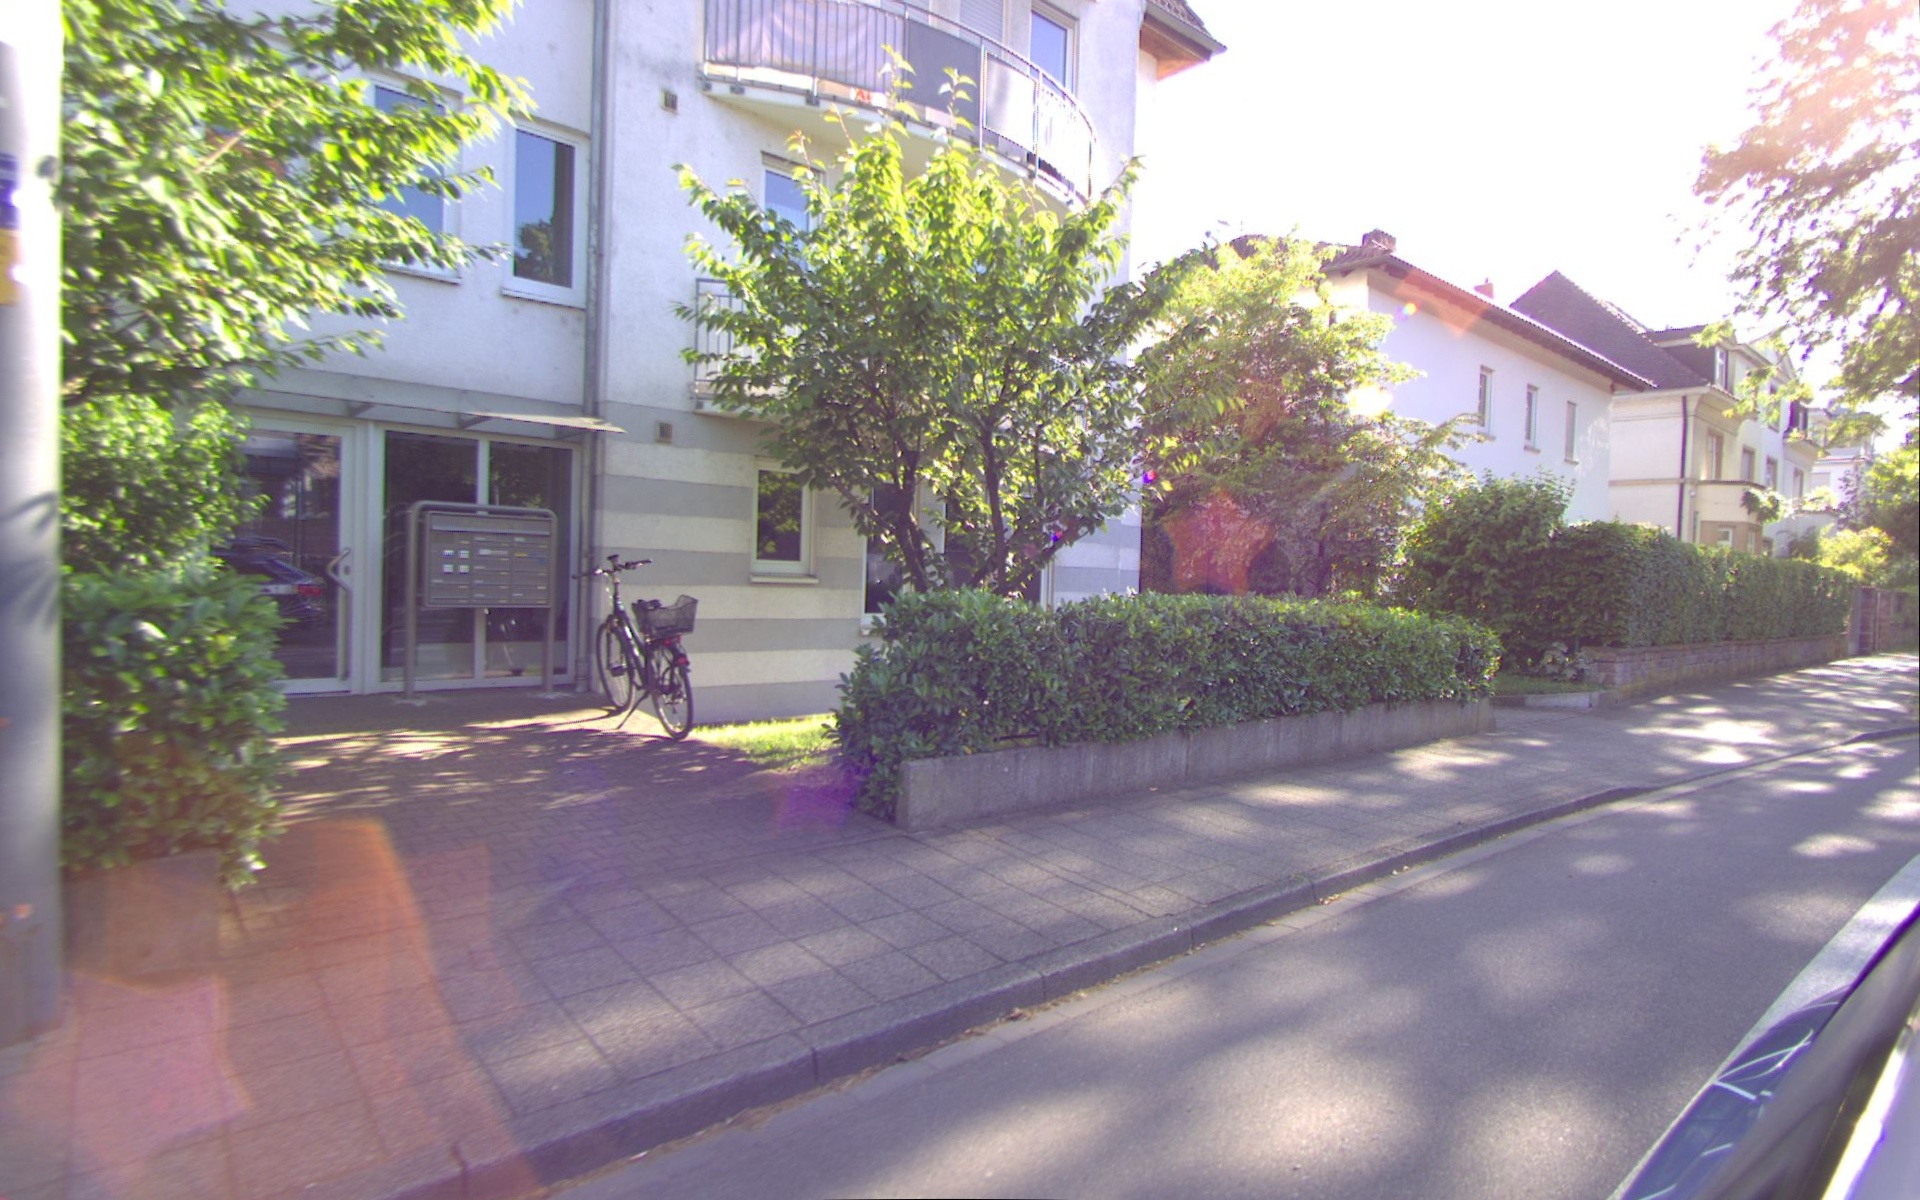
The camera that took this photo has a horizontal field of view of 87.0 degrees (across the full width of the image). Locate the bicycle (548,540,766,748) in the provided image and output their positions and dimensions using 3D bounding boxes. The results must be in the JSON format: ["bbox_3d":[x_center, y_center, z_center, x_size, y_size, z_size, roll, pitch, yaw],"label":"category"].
[{"bbox_3d":[-2.258,0.242,7.366,0.811,1.217,1.846,0,5,-40],"label":"bicycle"}]
